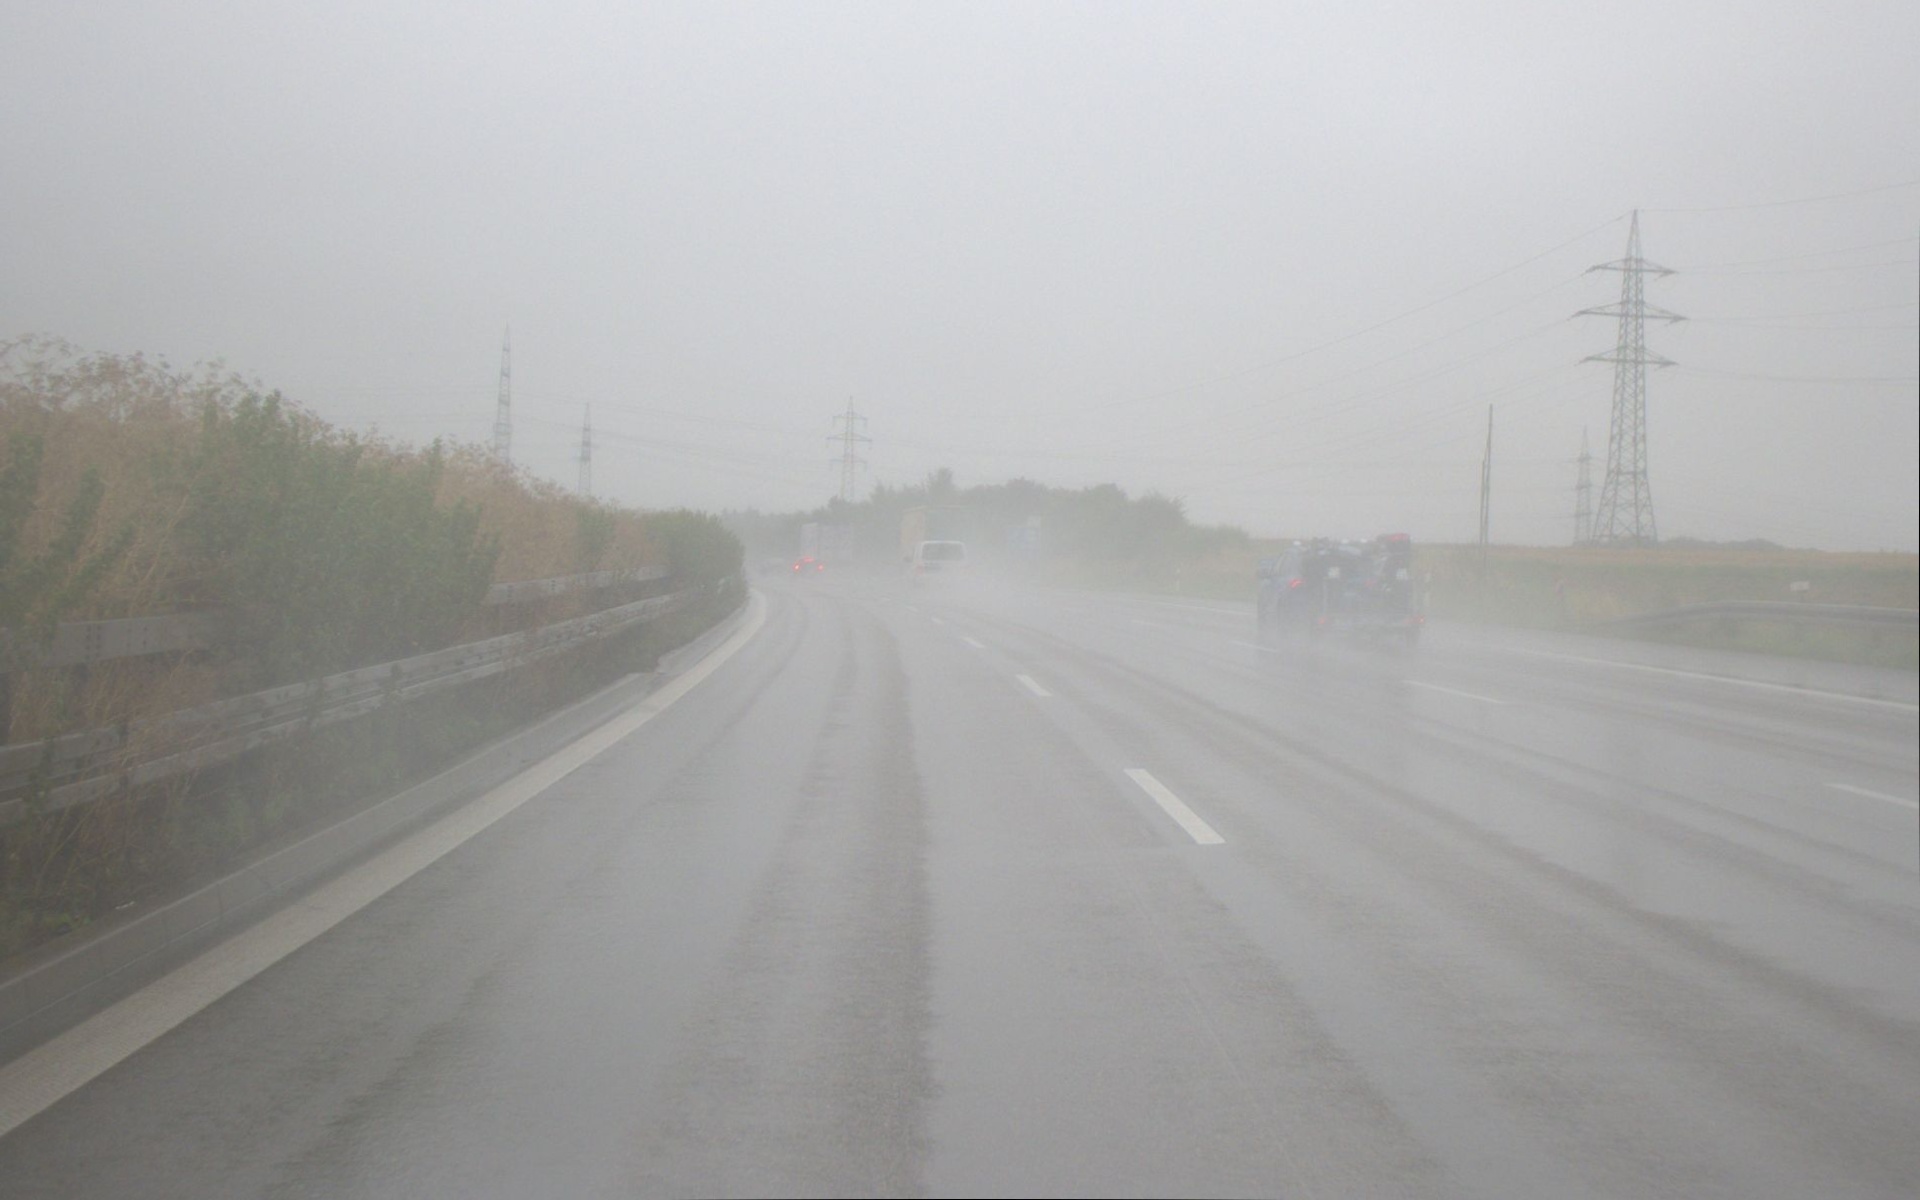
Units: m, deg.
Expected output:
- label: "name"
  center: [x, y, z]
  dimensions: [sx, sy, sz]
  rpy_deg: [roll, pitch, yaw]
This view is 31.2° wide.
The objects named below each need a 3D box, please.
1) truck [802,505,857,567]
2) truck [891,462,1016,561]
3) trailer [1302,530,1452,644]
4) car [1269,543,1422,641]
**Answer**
- label: "truck"
  center: [-9.412, -4.592, 247.316]
  dimensions: [3.232, 4.297, 8.839]
  rpy_deg: [0, 1, -7]
- label: "truck"
  center: [-0.463, -4.364, 173.850]
  dimensions: [4.188, 4.614, 16.109]
  rpy_deg: [1, 0, -8]
- label: "trailer"
  center: [6.696, -0.209, 55.477]
  dimensions: [1.979, 1.779, 3.189]
  rpy_deg: [0, 0, -1]
- label: "car"
  center: [6.618, -0.129, 59.533]
  dimensions: [1.993, 1.613, 4.992]
  rpy_deg: [0, 0, -1]
